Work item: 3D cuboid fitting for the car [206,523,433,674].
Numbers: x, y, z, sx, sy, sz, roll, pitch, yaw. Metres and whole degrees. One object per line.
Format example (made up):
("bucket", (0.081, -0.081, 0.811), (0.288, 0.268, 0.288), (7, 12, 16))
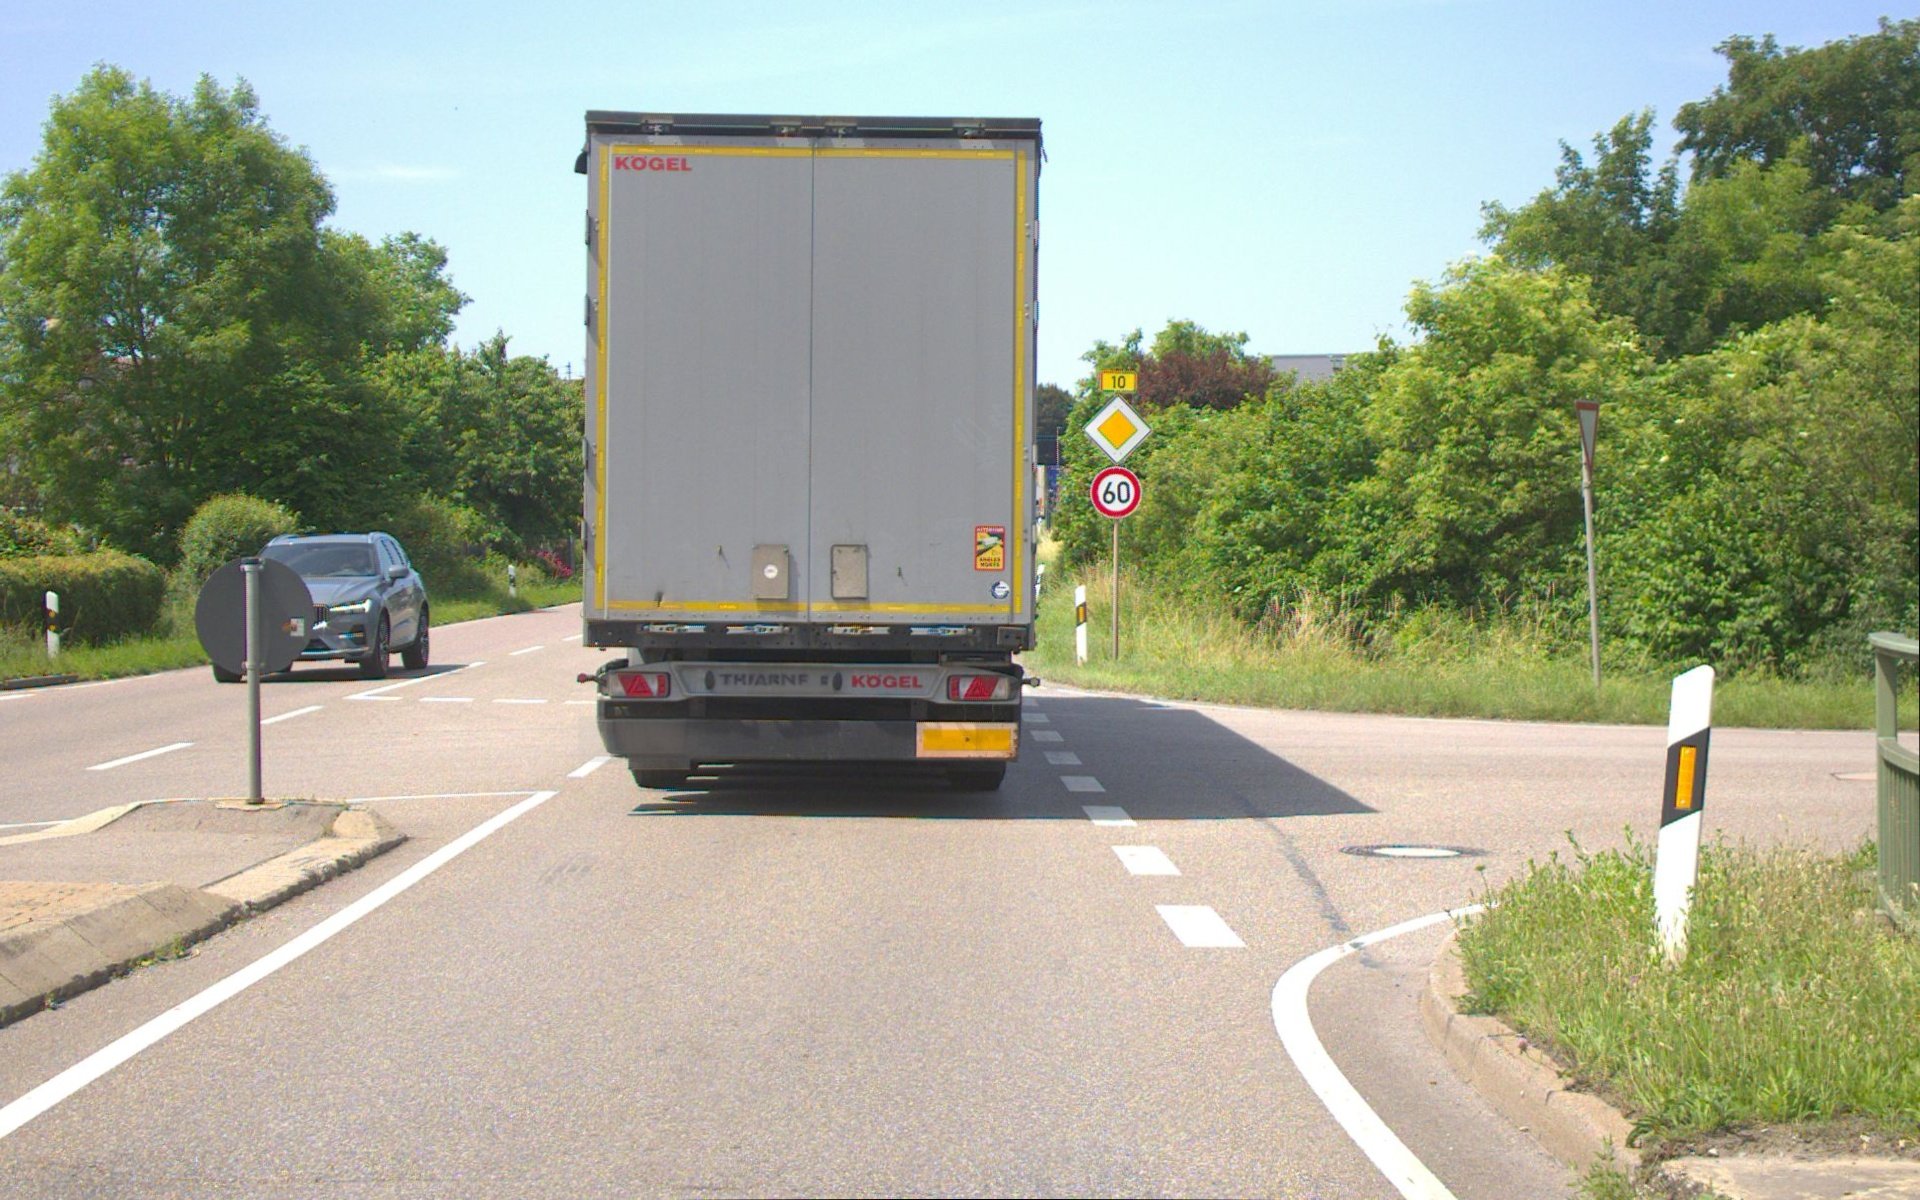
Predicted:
("car", (-7.385, -0.045, 40.014), (1.948, 1.648, 4.432), (0, 1, -2))

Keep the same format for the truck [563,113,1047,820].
("truck", (-1.069, -0.821, 23.551), (2.647, 3.903, 8.826), (1, 1, -3))
